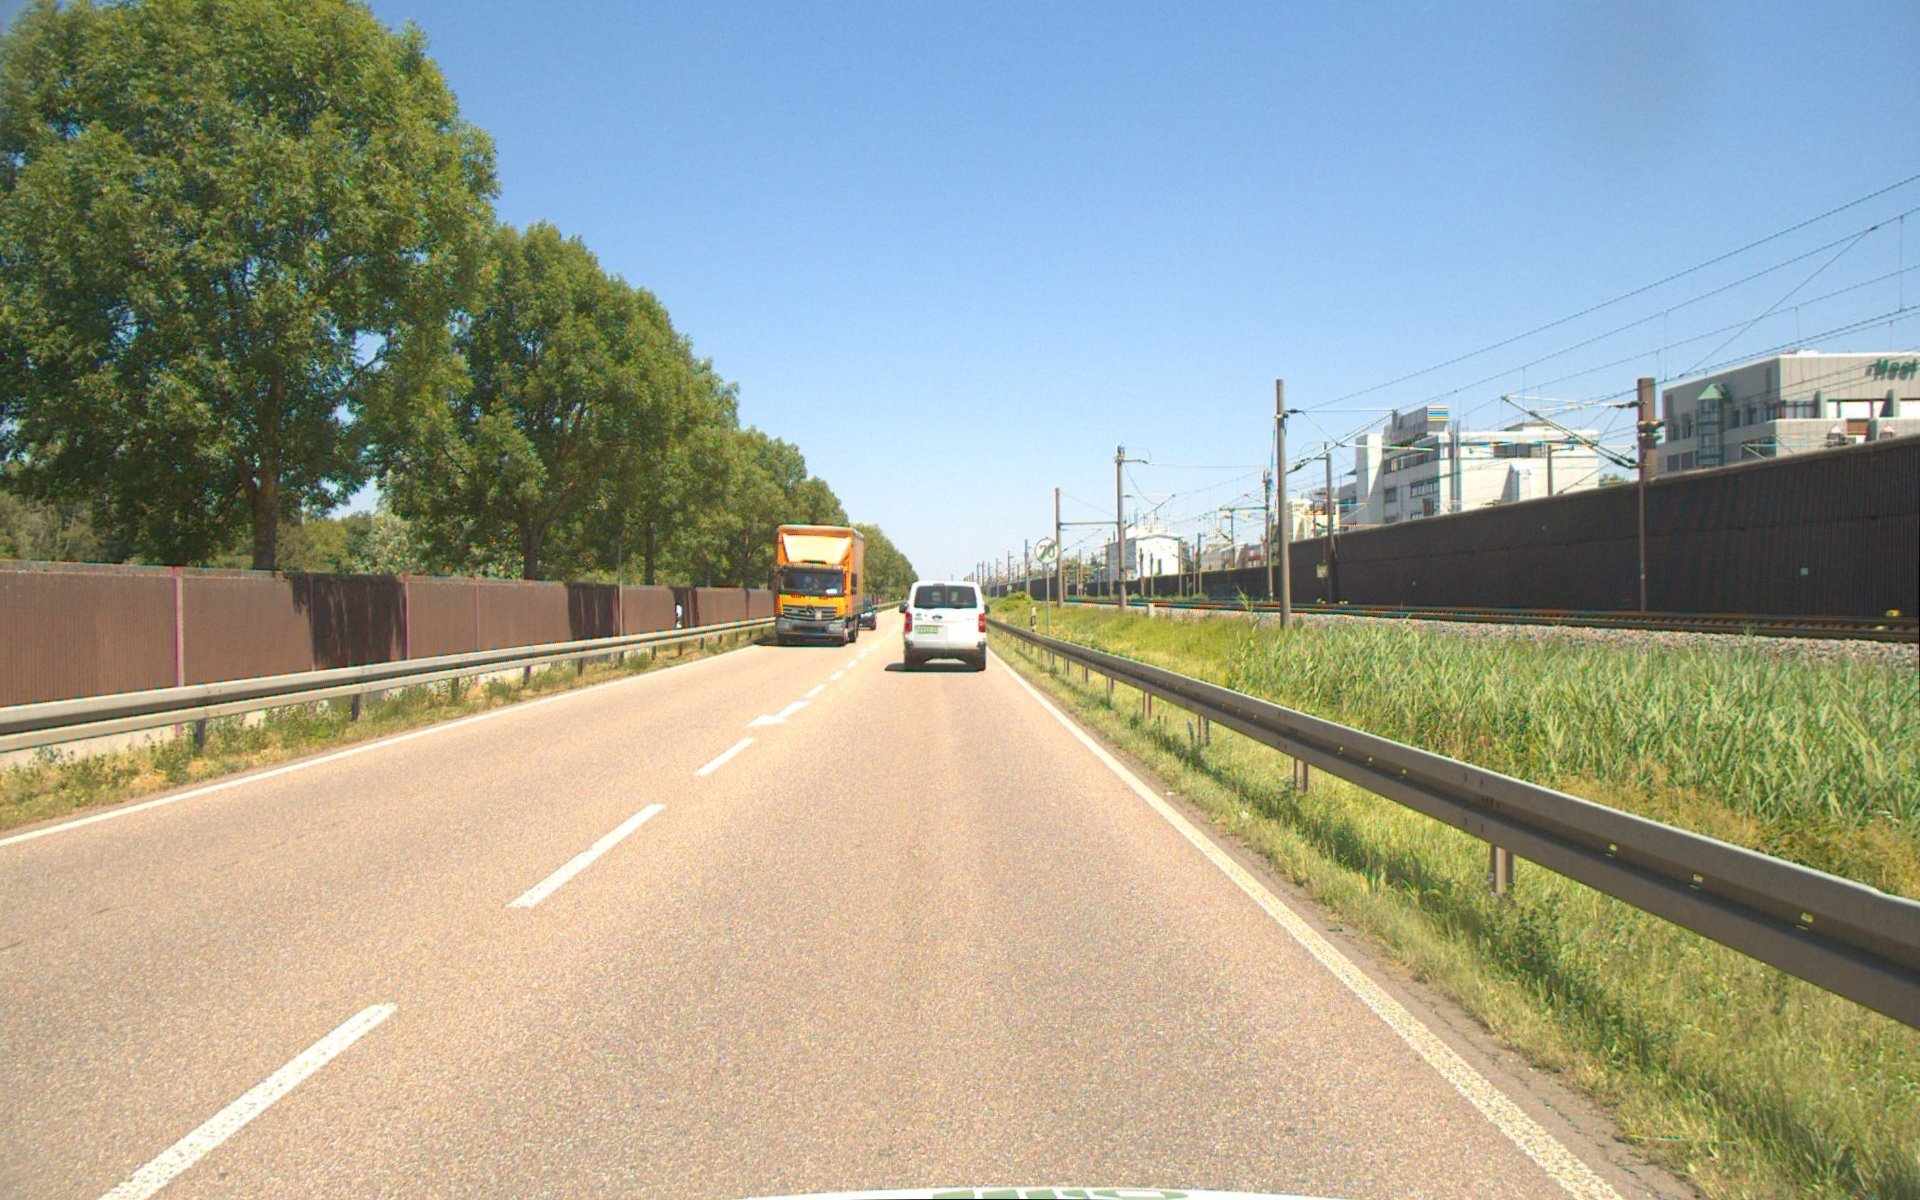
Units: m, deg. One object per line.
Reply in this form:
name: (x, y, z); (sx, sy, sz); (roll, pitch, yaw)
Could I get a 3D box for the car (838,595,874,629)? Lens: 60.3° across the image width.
car: (-5.137, 0.582, 82.412); (1.589, 1.605, 3.762); (0, 1, -1)

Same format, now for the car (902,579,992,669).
car: (-0.307, 0.515, 37.710); (1.906, 1.914, 4.880); (0, 0, -1)

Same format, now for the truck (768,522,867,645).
truck: (-4.782, -0.526, 57.238); (2.735, 3.907, 9.322); (0, 0, -1)
